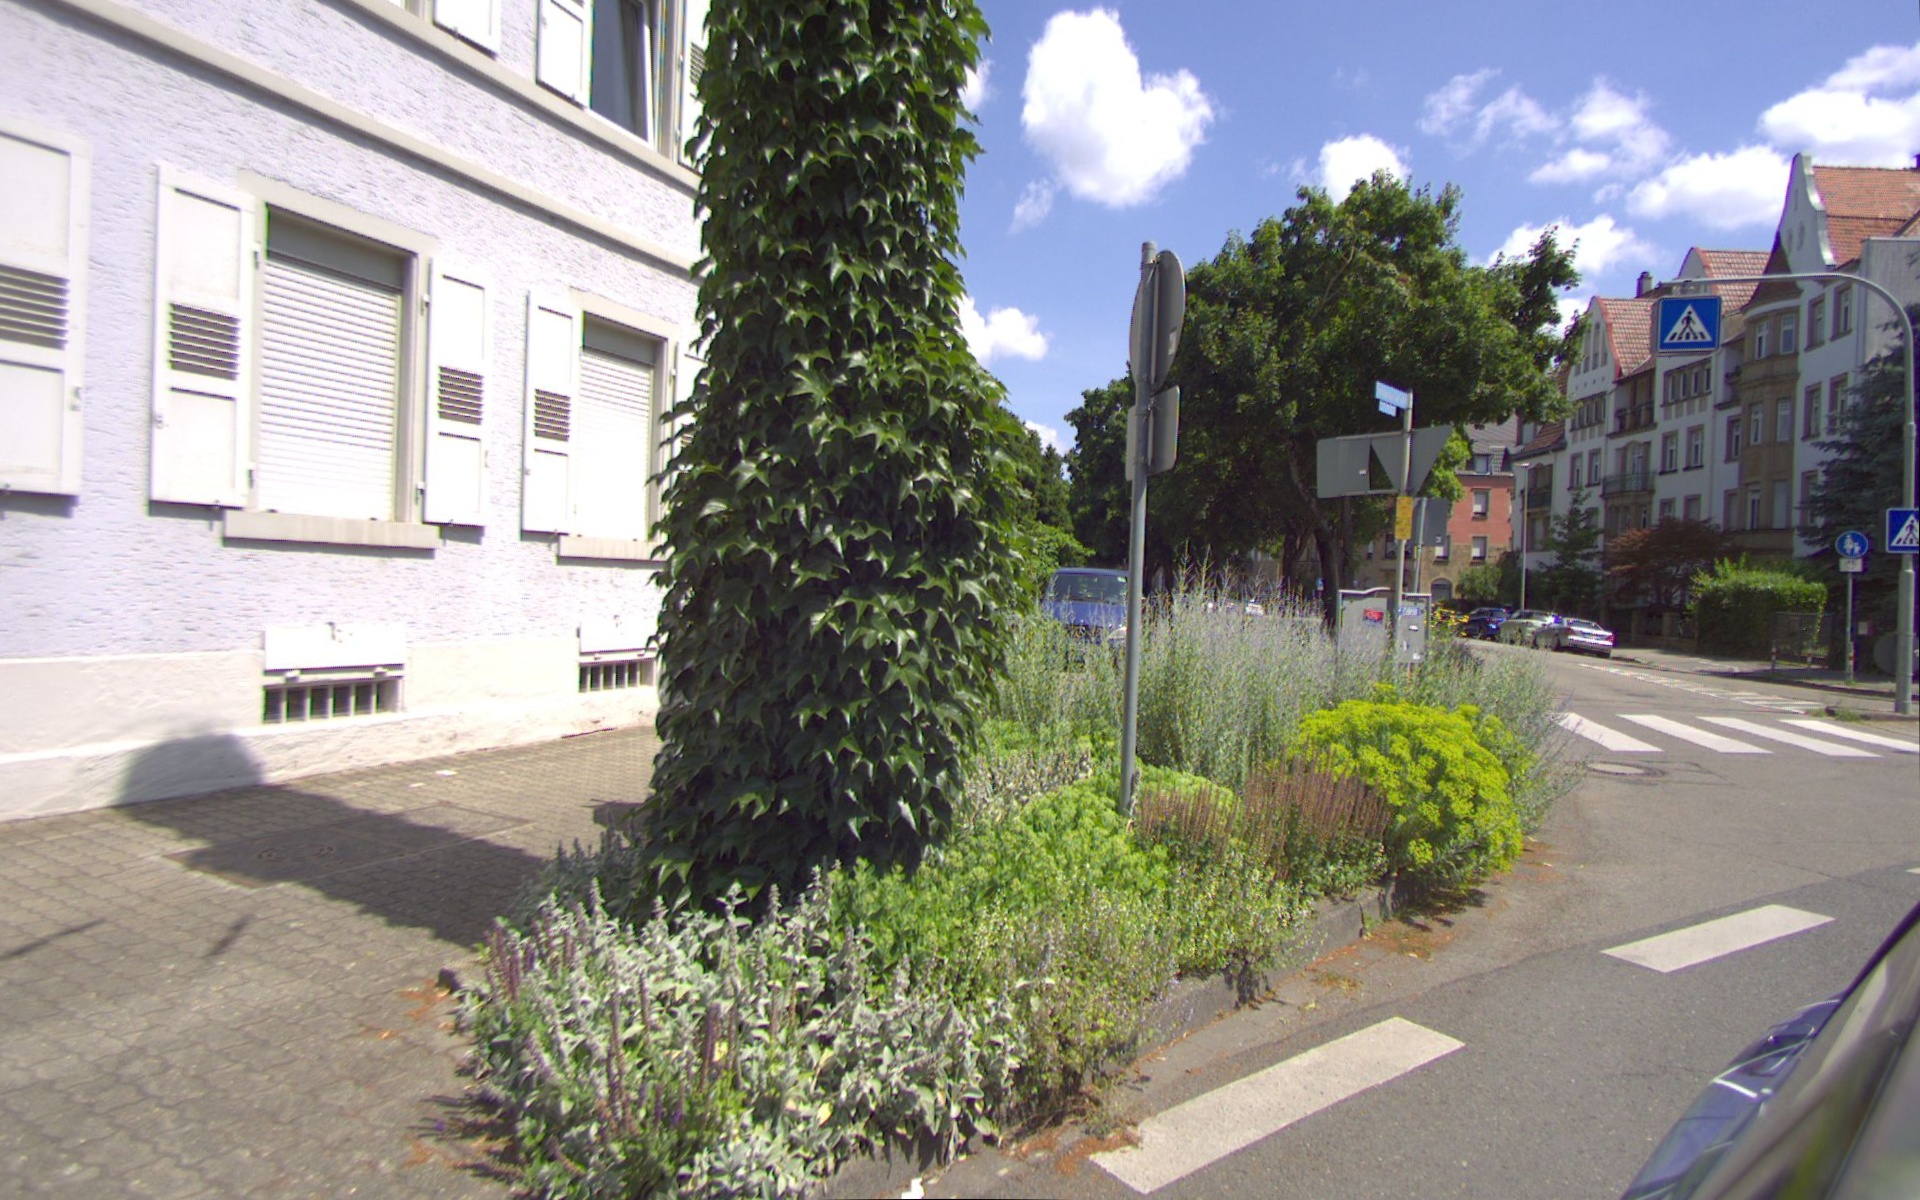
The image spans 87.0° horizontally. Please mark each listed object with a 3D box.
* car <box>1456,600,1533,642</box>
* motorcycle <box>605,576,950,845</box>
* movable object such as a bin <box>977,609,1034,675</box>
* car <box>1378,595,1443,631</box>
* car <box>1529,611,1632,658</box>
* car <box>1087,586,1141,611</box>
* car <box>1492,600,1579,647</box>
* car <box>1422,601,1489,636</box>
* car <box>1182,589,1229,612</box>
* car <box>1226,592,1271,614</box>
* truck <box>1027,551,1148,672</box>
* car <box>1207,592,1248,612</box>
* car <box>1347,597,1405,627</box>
[{"bbox_3d":[24.252,0.916,46.100,1.747,1.533,3.989,7,2,9],"label":"car"},{"bbox_3d":[-1.025,0.560,6.398,0.796,1.369,2.312,2,1,31],"label":"motorcycle"},{"bbox_3d":[0.716,0.640,15.804,0.616,0.973,0.624,2,1,44],"label":"movable object such as a bin"},{"bbox_3d":[25.404,0.718,57.239,1.742,1.633,3.876,7,2,0],"label":"car"},{"bbox_3d":[22.052,1.188,36.166,1.791,1.343,3.986,4,1,12],"label":"car"},{"bbox_3d":[12.627,-0.162,82.993,3.956,1.883,1.909,2,1,24],"label":"car"},{"bbox_3d":[23.282,0.906,41.082,1.748,1.534,3.986,7,2,12],"label":"car"},{"bbox_3d":[25.148,0.901,51.506,1.746,1.405,3.992,7,2,7],"label":"car"},{"bbox_3d":[18.842,0.011,77.844,1.958,1.638,4.194,1,1,-11],"label":"car"},{"bbox_3d":[23.762,0.233,83.493,1.959,1.638,4.192,1,1,-7],"label":"car"},{"bbox_3d":[2.653,0.184,19.901,1.887,1.950,5.263,3,1,11],"label":"truck"},{"bbox_3d":[23.189,0.166,88.031,1.959,1.638,4.192,1,1,-7],"label":"car"},{"bbox_3d":[25.354,0.687,61.814,1.741,1.407,3.878,7,2,-2],"label":"car"}]
